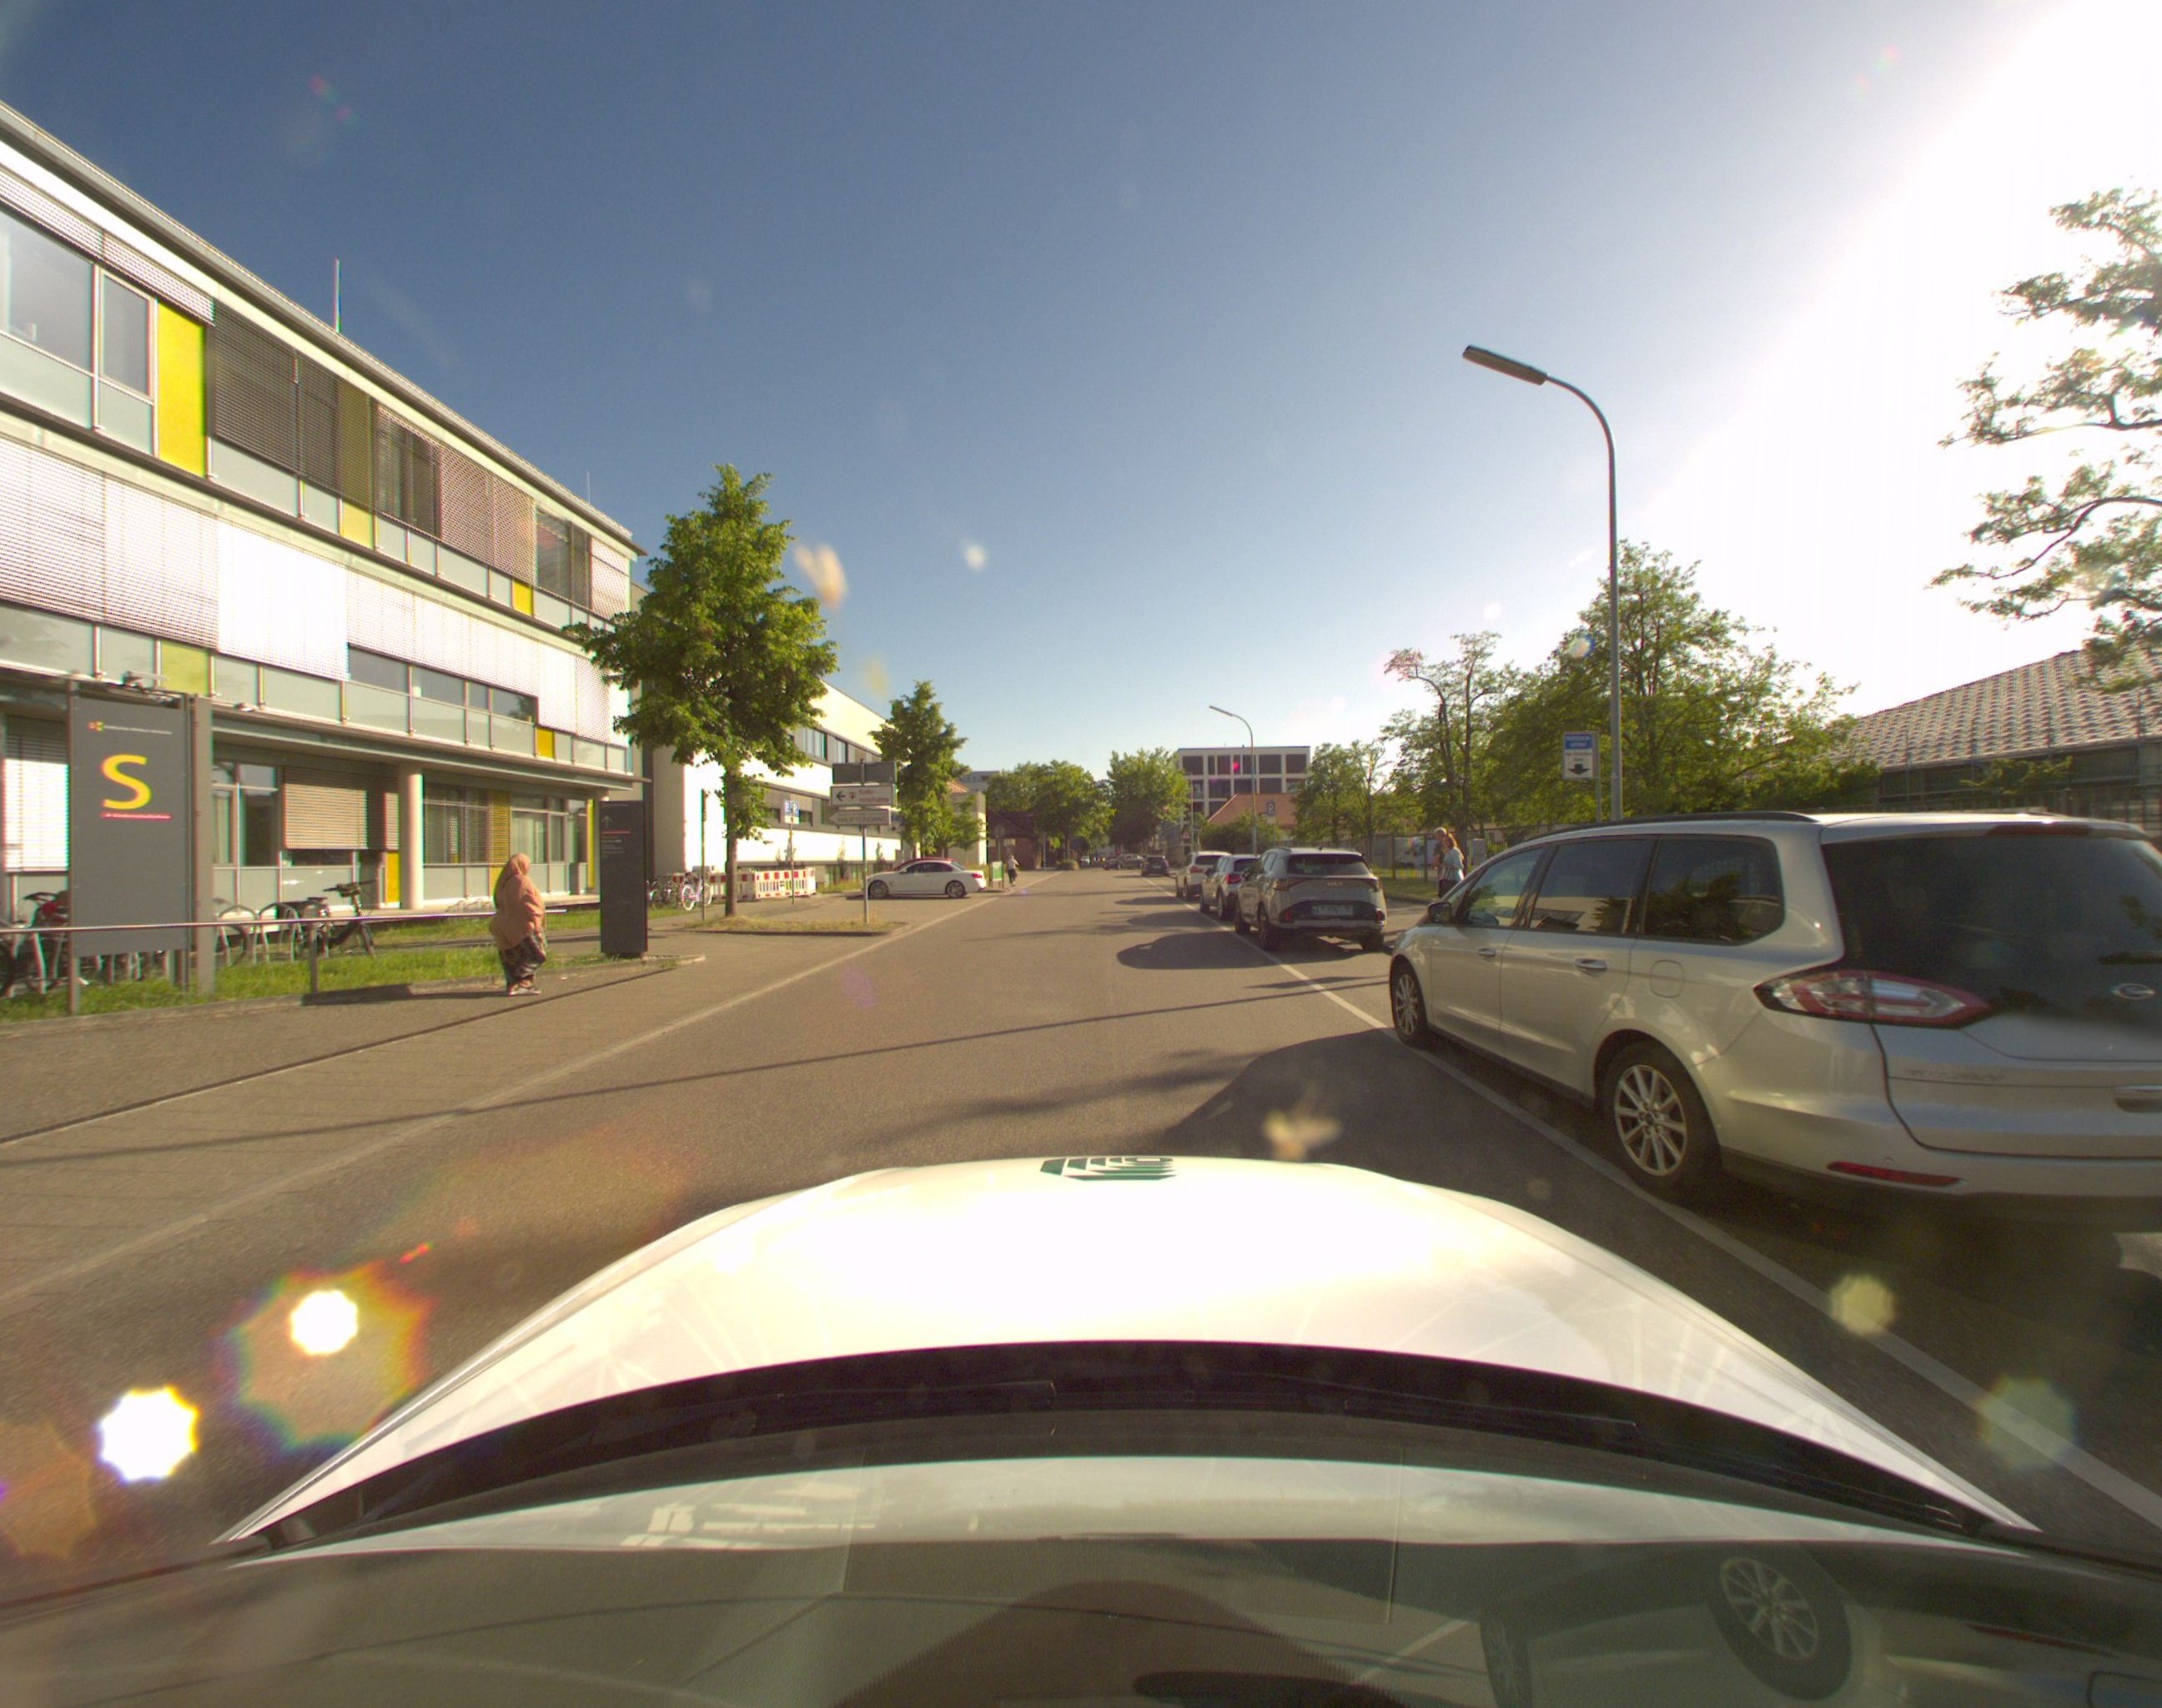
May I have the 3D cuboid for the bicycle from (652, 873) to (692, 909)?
[{"bbox_3d":[-12.276,1.096,24.474,0.393,0.988,1.452,-1,0,3],"label":"bicycle"}]

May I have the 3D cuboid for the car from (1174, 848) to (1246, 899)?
[{"bbox_3d":[4.307,0.603,27.765,1.807,1.588,4.261,0,0,0],"label":"car"}]

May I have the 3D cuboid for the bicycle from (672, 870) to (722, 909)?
[{"bbox_3d":[-11.734,1.060,24.929,0.532,1.111,1.862,-1,0,3],"label":"bicycle"}]

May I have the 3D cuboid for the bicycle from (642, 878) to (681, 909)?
[{"bbox_3d":[-12.753,1.199,24.783,0.367,0.863,1.452,-1,0,3],"label":"bicycle"}]

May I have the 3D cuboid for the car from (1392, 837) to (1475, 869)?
[{"bbox_3d":[25.824,-0.079,59.769,5.255,2.202,2.005,-1,1,7],"label":"car"}]

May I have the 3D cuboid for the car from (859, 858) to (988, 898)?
[{"bbox_3d":[-5.801,0.875,30.481,4.502,1.367,1.698,1,0,-4],"label":"car"}]

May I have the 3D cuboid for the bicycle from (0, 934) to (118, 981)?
[{"bbox_3d":[-14.330,1.416,11.118,1.709,0.551,0.536,-1,0,0],"label":"bicycle"}]

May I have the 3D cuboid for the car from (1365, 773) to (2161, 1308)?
[{"bbox_3d":[3.426,0.600,4.986,1.803,1.722,4.705,0,0,1],"label":"car"}]

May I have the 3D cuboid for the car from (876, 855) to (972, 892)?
[{"bbox_3d":[-6.390,0.790,33.398,3.625,1.469,1.613,0,0,-2],"label":"car"}]

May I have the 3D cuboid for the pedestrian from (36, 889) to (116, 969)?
[{"bbox_3d":[-15.527,1.143,12.593,0.529,1.173,0.556,-1,0,2],"label":"pedestrian"}]

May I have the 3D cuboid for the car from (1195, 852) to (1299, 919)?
[{"bbox_3d":[3.967,0.699,20.052,1.695,1.487,3.979,0,0,-1],"label":"car"}]

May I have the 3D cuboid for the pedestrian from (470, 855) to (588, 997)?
[{"bbox_3d":[-6.302,0.792,9.342,0.770,1.549,0.780,1,-1,2],"label":"pedestrian"}]

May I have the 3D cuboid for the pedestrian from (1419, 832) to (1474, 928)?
[{"bbox_3d":[6.233,0.437,13.911,0.679,1.611,0.540,1,-1,-1],"label":"pedestrian"}]

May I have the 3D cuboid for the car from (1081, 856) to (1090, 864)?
[{"bbox_3d":[0.876,1.192,156.461,1.761,1.487,4.000,-1,0,1],"label":"car"}]

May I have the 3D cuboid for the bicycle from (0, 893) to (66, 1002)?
[{"bbox_3d":[-11.629,0.969,8.358,1.709,1.055,0.536,-1,0,-1],"label":"bicycle"}]

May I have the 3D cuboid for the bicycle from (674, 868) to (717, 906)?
[{"bbox_3d":[-12.328,1.039,26.097,0.418,1.123,1.765,-1,0,3],"label":"bicycle"}]

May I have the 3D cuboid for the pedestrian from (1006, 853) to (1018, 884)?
[{"bbox_3d":[-3.544,0.736,41.812,0.536,1.524,0.608,-1,0,3],"label":"pedestrian"}]

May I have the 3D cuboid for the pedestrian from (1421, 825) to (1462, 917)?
[{"bbox_3d":[6.783,0.319,15.341,0.519,1.708,0.522,1,-1,-1],"label":"pedestrian"}]

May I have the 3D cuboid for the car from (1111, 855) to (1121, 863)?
[{"bbox_3d":[6.954,1.005,161.066,1.761,1.548,4.066,-1,0,1],"label":"car"}]

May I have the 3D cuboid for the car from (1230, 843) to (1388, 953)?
[{"bbox_3d":[3.761,0.640,14.193,1.694,1.606,4.355,0,0,2],"label":"car"}]

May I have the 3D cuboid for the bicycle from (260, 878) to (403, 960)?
[{"bbox_3d":[-10.923,0.937,11.889,1.694,1.121,0.537,-1,0,7],"label":"bicycle"}]

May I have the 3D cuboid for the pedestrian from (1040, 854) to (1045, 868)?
[{"bbox_3d":[-4.172,0.751,88.020,0.519,1.562,1.096,-1,0,1],"label":"pedestrian"}]

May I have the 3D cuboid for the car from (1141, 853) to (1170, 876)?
[{"bbox_3d":[5.048,0.656,55.533,1.810,1.453,4.217,-1,0,3],"label":"car"}]

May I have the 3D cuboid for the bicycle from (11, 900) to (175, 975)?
[{"bbox_3d":[-14.355,1.200,11.853,1.709,0.994,0.536,-1,0,0],"label":"bicycle"}]

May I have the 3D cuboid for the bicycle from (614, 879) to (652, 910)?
[{"bbox_3d":[-13.720,1.234,24.972,0.254,0.873,1.452,-1,0,3],"label":"bicycle"}]

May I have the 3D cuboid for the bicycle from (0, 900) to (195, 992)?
[{"bbox_3d":[-11.613,1.069,9.601,1.709,0.974,0.536,-1,0,-1],"label":"bicycle"}]

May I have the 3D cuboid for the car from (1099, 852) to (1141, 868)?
[{"bbox_3d":[3.714,0.552,76.412,1.744,1.442,4.567,-2,0,34],"label":"car"}]
